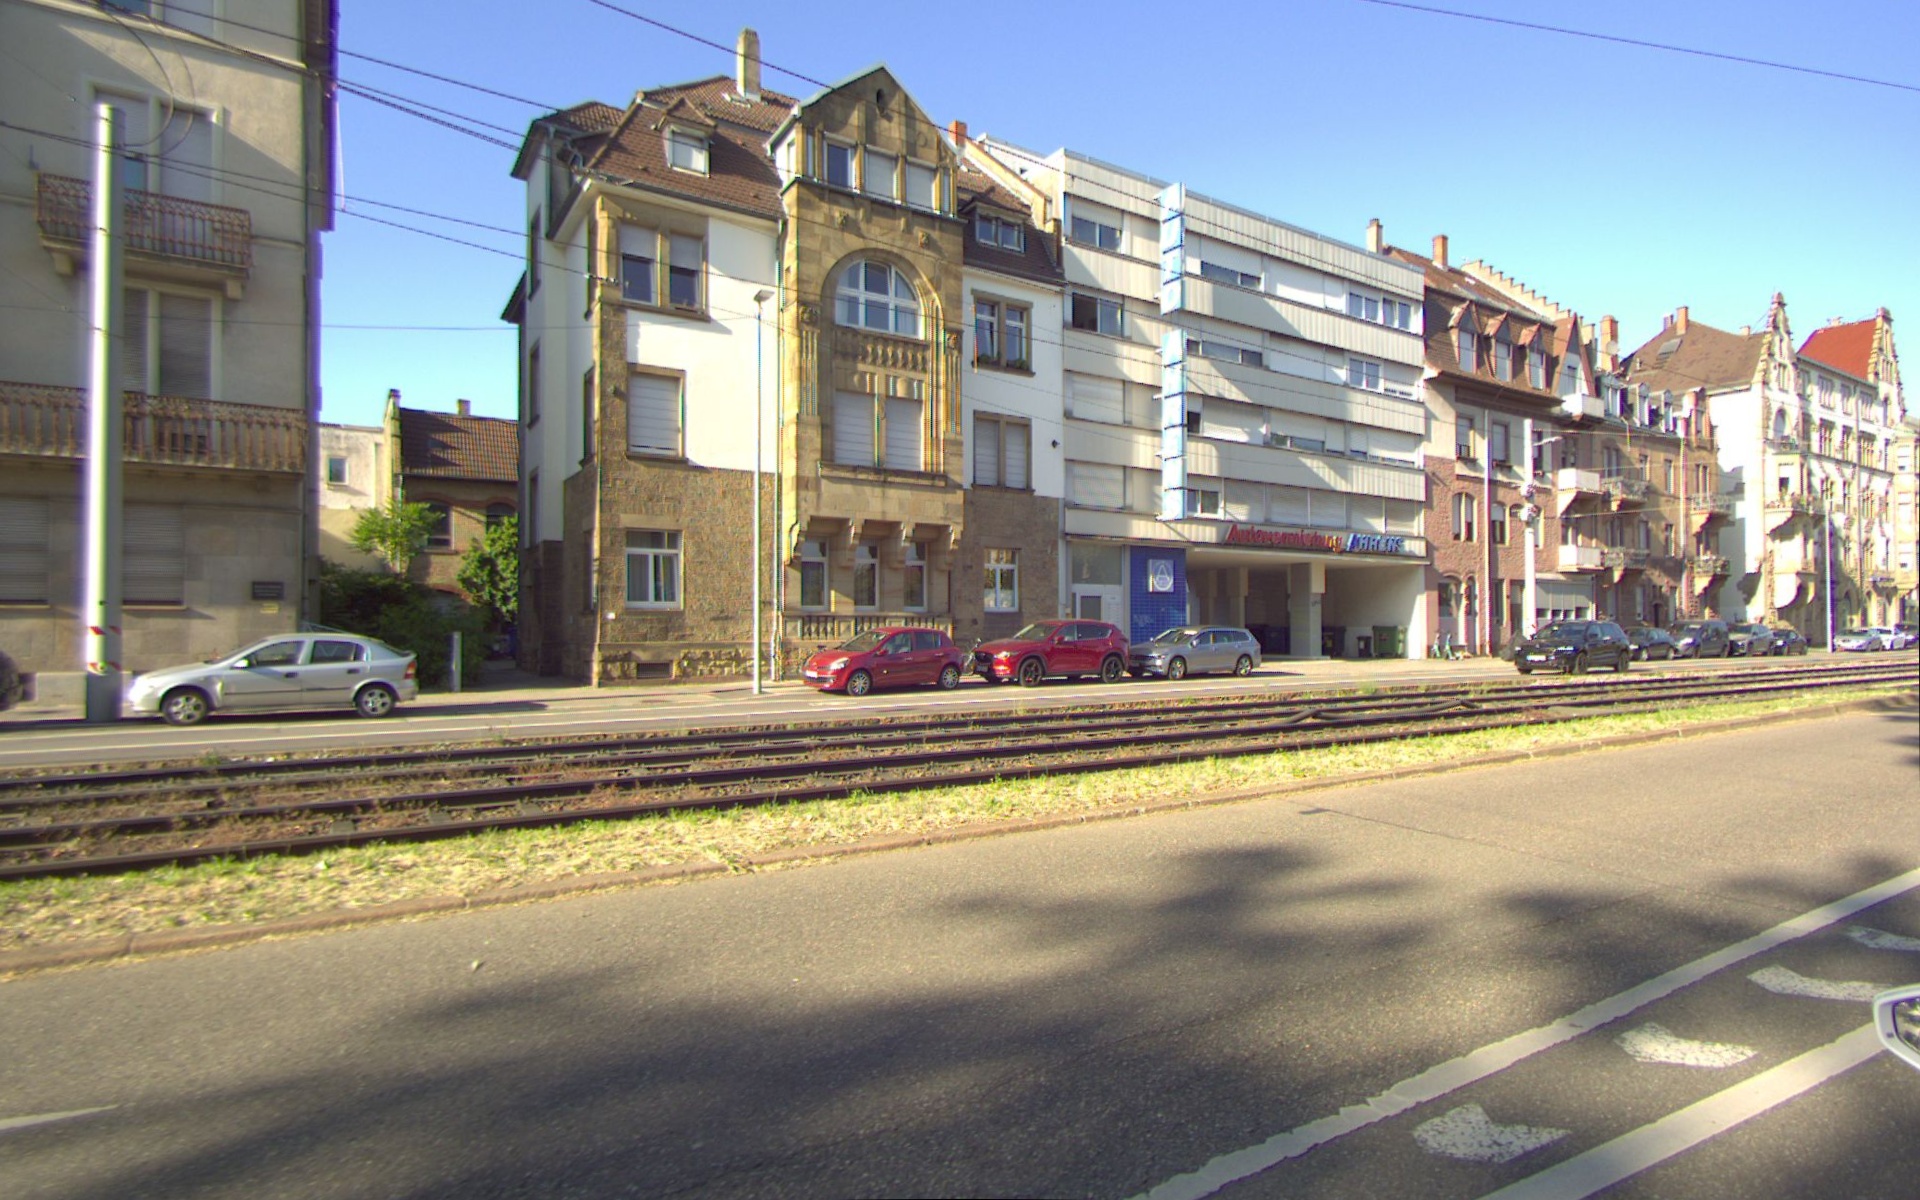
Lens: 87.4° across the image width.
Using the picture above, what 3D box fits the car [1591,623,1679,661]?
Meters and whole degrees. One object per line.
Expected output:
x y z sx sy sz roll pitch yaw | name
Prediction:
29.829 1.817 44.349 3.957 1.530 1.783 1 1 -33 | car

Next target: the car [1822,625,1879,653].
53.130 2.302 59.907 3.963 1.530 1.781 1 2 -37 | car

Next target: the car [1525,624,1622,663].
25.425 1.766 41.597 4.222 1.479 1.783 1 1 -34 | car

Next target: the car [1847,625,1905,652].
57.543 2.382 63.087 4.142 1.530 1.783 1 1 -34 | car

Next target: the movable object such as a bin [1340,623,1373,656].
17.286 1.711 43.754 0.630 1.389 1.183 1 -1 -39 | movable object such as a bin

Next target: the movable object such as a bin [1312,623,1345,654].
16.509 1.730 45.008 0.629 1.389 1.258 1 -2 -36 | movable object such as a bin

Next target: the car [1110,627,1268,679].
6.728 1.496 29.329 4.633 1.409 1.822 1 -1 -34 | car

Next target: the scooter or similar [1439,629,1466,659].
20.472 1.827 41.730 1.187 1.222 0.389 1 1 -32 | scooter or similar

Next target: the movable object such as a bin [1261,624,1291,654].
14.874 1.842 47.258 0.628 1.389 1.260 1 -2 -32 | movable object such as a bin

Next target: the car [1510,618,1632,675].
18.543 1.395 30.422 4.117 1.622 1.625 1 -3 -35 | car

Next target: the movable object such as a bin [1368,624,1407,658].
18.118 1.727 42.632 0.630 1.389 1.400 1 -1 -38 | movable object such as a bin

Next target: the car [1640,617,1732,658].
33.958 1.742 46.952 4.402 1.777 1.785 1 1 -30 | car

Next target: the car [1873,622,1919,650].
62.076 2.351 66.227 4.142 1.742 1.783 1 2 -34 | car

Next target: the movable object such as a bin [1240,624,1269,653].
14.170 1.863 48.392 0.628 1.389 1.260 1 -2 -32 | movable object such as a bin

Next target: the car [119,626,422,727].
-11.618 1.228 17.232 4.113 1.488 1.626 0 0 -33 | car

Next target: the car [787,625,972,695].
-1.857 1.353 23.699 3.999 1.410 1.819 1 1 -38 | car

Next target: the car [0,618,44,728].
-15.975 1.064 14.351 4.121 1.489 1.623 1 4 -38 | car

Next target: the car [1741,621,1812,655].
43.262 1.999 53.201 4.154 1.674 1.676 1 1 -33 | car

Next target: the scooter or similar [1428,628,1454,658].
20.237 1.814 42.247 1.187 1.222 0.389 1 1 -32 | scooter or similar

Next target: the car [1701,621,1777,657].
38.961 1.931 50.210 4.154 1.674 1.676 1 1 -33 | car

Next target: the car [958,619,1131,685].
2.262 1.318 26.414 4.305 1.579 1.823 1 -1 -32 | car

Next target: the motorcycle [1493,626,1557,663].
22.526 1.754 40.059 2.045 1.345 0.836 3 2 42 | motorcycle
